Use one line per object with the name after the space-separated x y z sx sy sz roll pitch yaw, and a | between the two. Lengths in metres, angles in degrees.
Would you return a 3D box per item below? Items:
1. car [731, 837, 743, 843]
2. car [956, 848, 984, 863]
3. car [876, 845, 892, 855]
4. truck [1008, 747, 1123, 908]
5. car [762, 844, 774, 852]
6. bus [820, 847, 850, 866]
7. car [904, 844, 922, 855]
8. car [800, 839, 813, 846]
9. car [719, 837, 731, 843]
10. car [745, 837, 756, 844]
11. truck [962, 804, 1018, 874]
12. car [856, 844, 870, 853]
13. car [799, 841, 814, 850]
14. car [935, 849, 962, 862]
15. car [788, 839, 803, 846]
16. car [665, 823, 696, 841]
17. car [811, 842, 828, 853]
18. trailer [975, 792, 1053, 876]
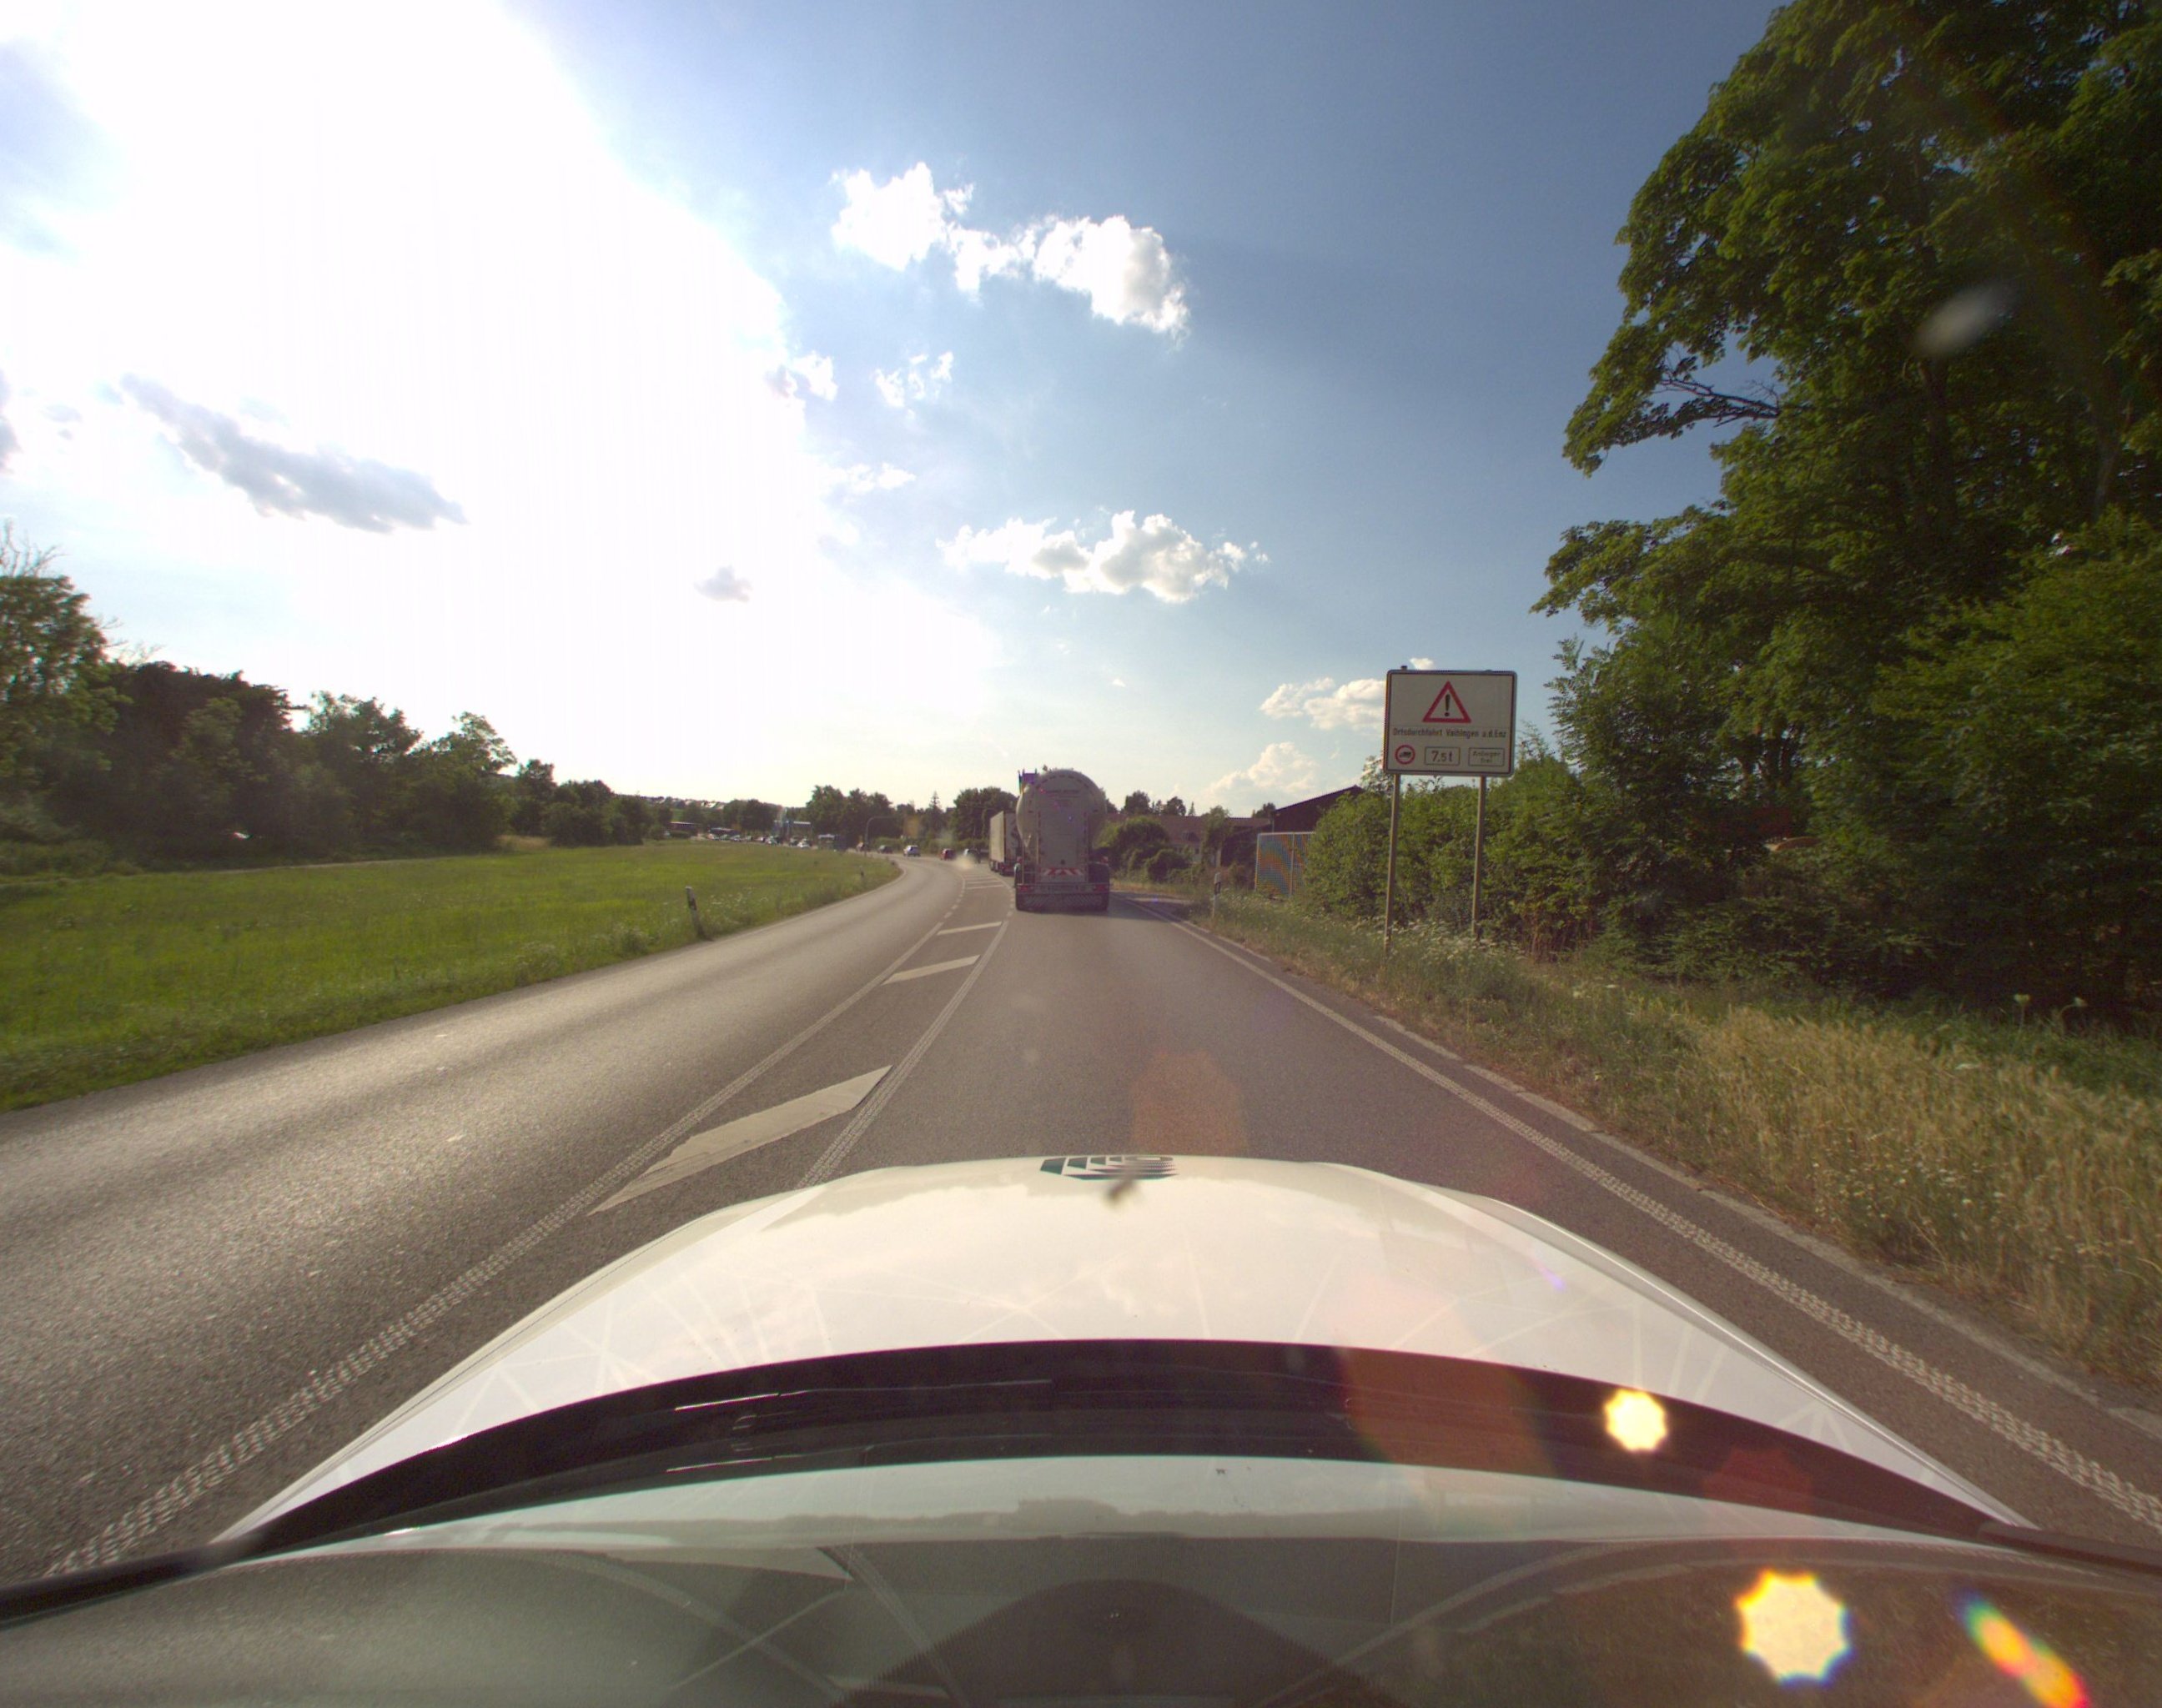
-91.087 -3.728 215.803 1.897 1.599 3.955 1 0 -38 | car
-12.319 0.203 90.032 2.003 1.656 3.967 1 -1 -25 | car
-34.096 -0.610 140.925 1.529 1.656 3.835 1 -1 -30 | car
-0.764 -0.615 27.025 2.970 4.175 11.645 0 -1 -4 | truck
-70.252 -1.280 182.866 1.853 1.656 3.961 1 -1 -30 | car
-43.080 0.432 142.316 2.810 3.181 12.017 1 -1 -28 | bus
-25.593 -0.702 123.866 1.850 1.656 3.967 1 -1 -25 | car
-61.805 -2.609 183.325 2.099 1.599 3.960 1 0 -32 | car
-96.723 -3.785 221.242 1.899 1.599 3.951 1 0 -45 | car
-85.844 -3.504 211.572 1.896 1.599 3.957 1 0 -35 | car
-6.774 -1.015 59.998 2.969 4.886 6.393 1 -1 -17 | truck
-40.853 -1.030 152.893 1.529 1.656 3.834 1 -1 -31 | car
-54.722 -1.630 162.363 1.855 1.656 3.956 1 -1 -35 | car
-17.279 0.255 106.174 2.310 1.656 4.379 1 -1 -25 | car
-66.521 -2.631 189.952 2.102 1.599 3.954 1 0 -39 | car
-116.382 -6.239 236.608 13.075 5.059 3.574 1 0 42 | car
-44.459 -1.091 138.340 1.853 1.656 3.961 1 -1 -30 | car
-4.571 -1.097 52.872 2.971 4.882 10.229 1 -1 -17 | trailer
